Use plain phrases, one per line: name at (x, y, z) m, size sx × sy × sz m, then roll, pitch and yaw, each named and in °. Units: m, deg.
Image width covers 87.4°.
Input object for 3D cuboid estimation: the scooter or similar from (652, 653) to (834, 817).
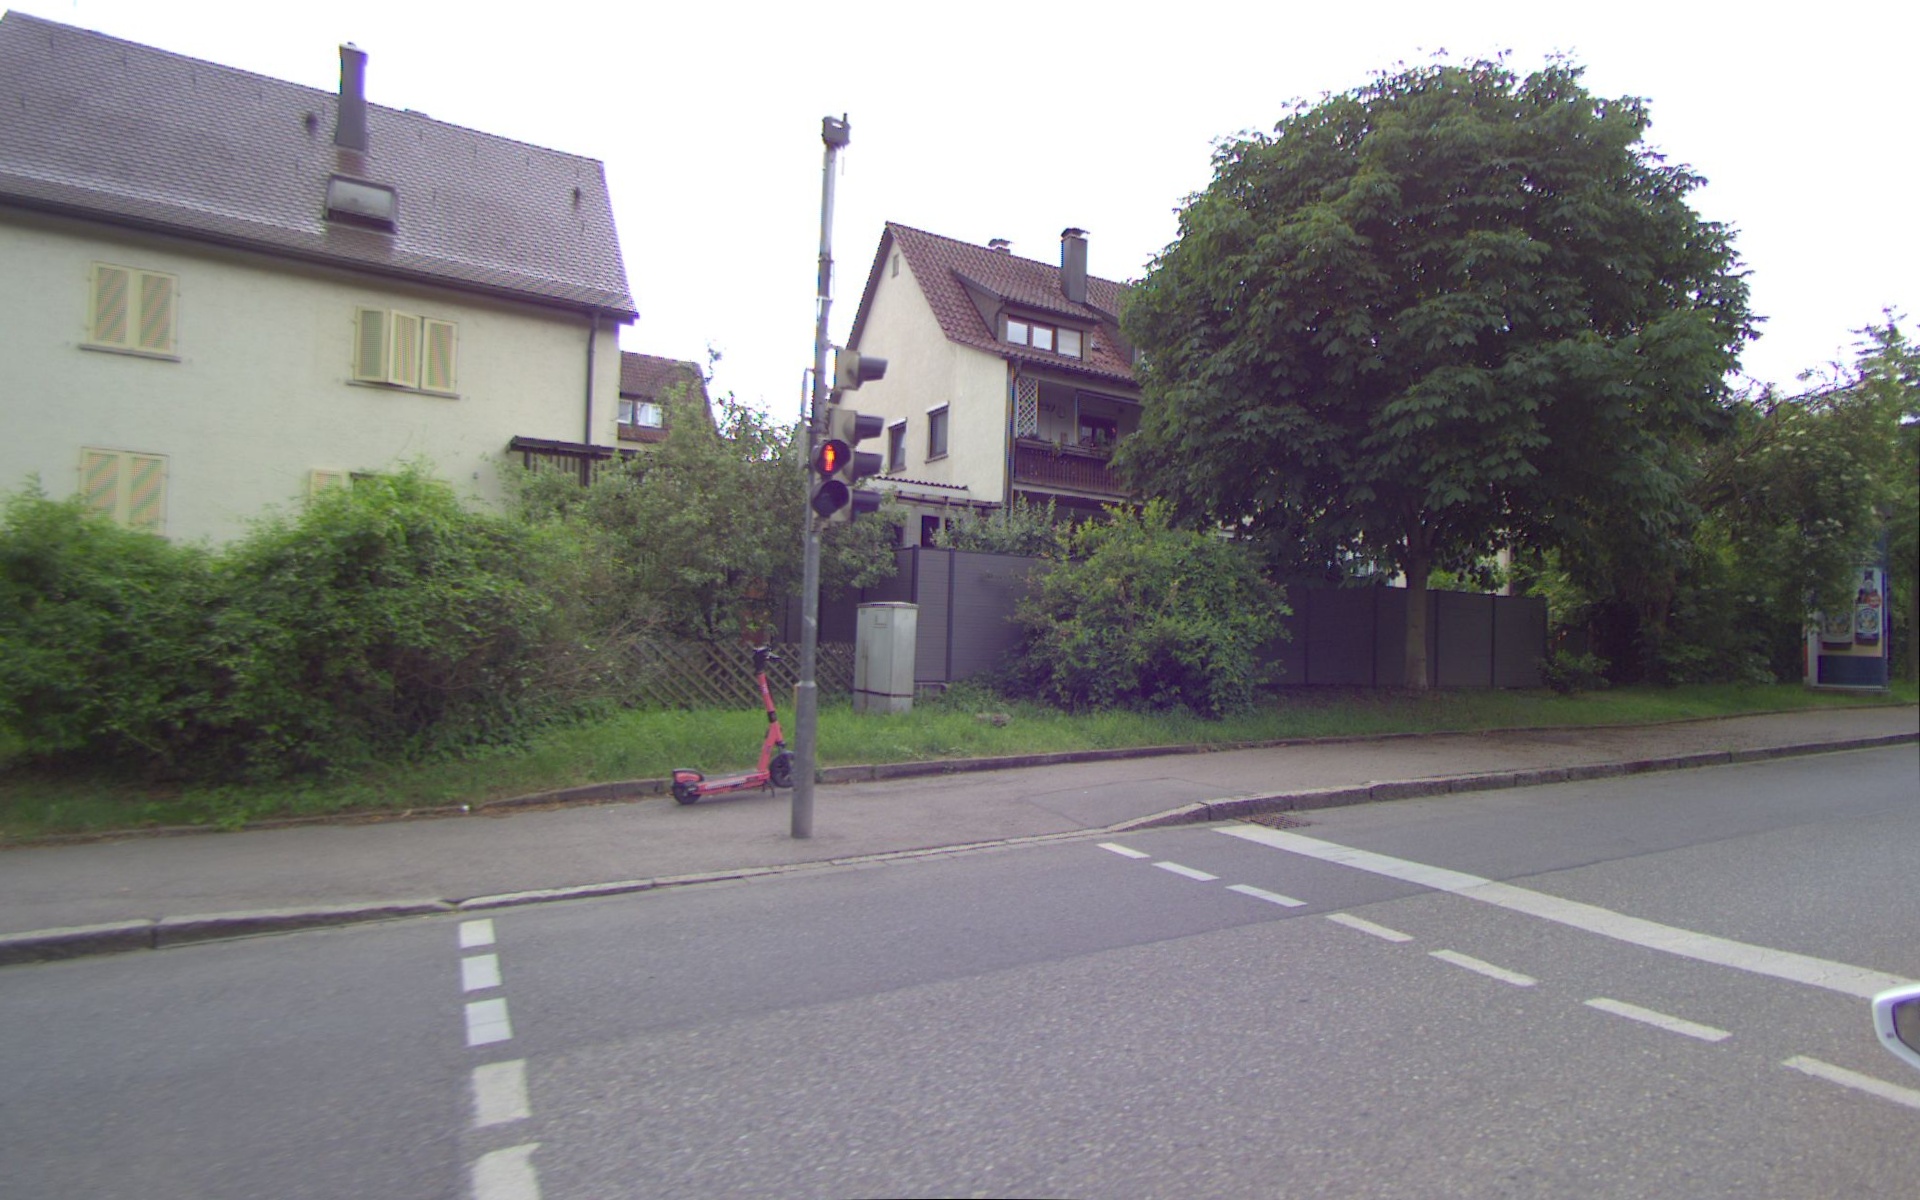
scooter or similar at (-1.820, 1.101, 8.477) m, size 1.408 × 1.275 × 0.460 m, roll 2°, pitch -1°, yaw -28°
